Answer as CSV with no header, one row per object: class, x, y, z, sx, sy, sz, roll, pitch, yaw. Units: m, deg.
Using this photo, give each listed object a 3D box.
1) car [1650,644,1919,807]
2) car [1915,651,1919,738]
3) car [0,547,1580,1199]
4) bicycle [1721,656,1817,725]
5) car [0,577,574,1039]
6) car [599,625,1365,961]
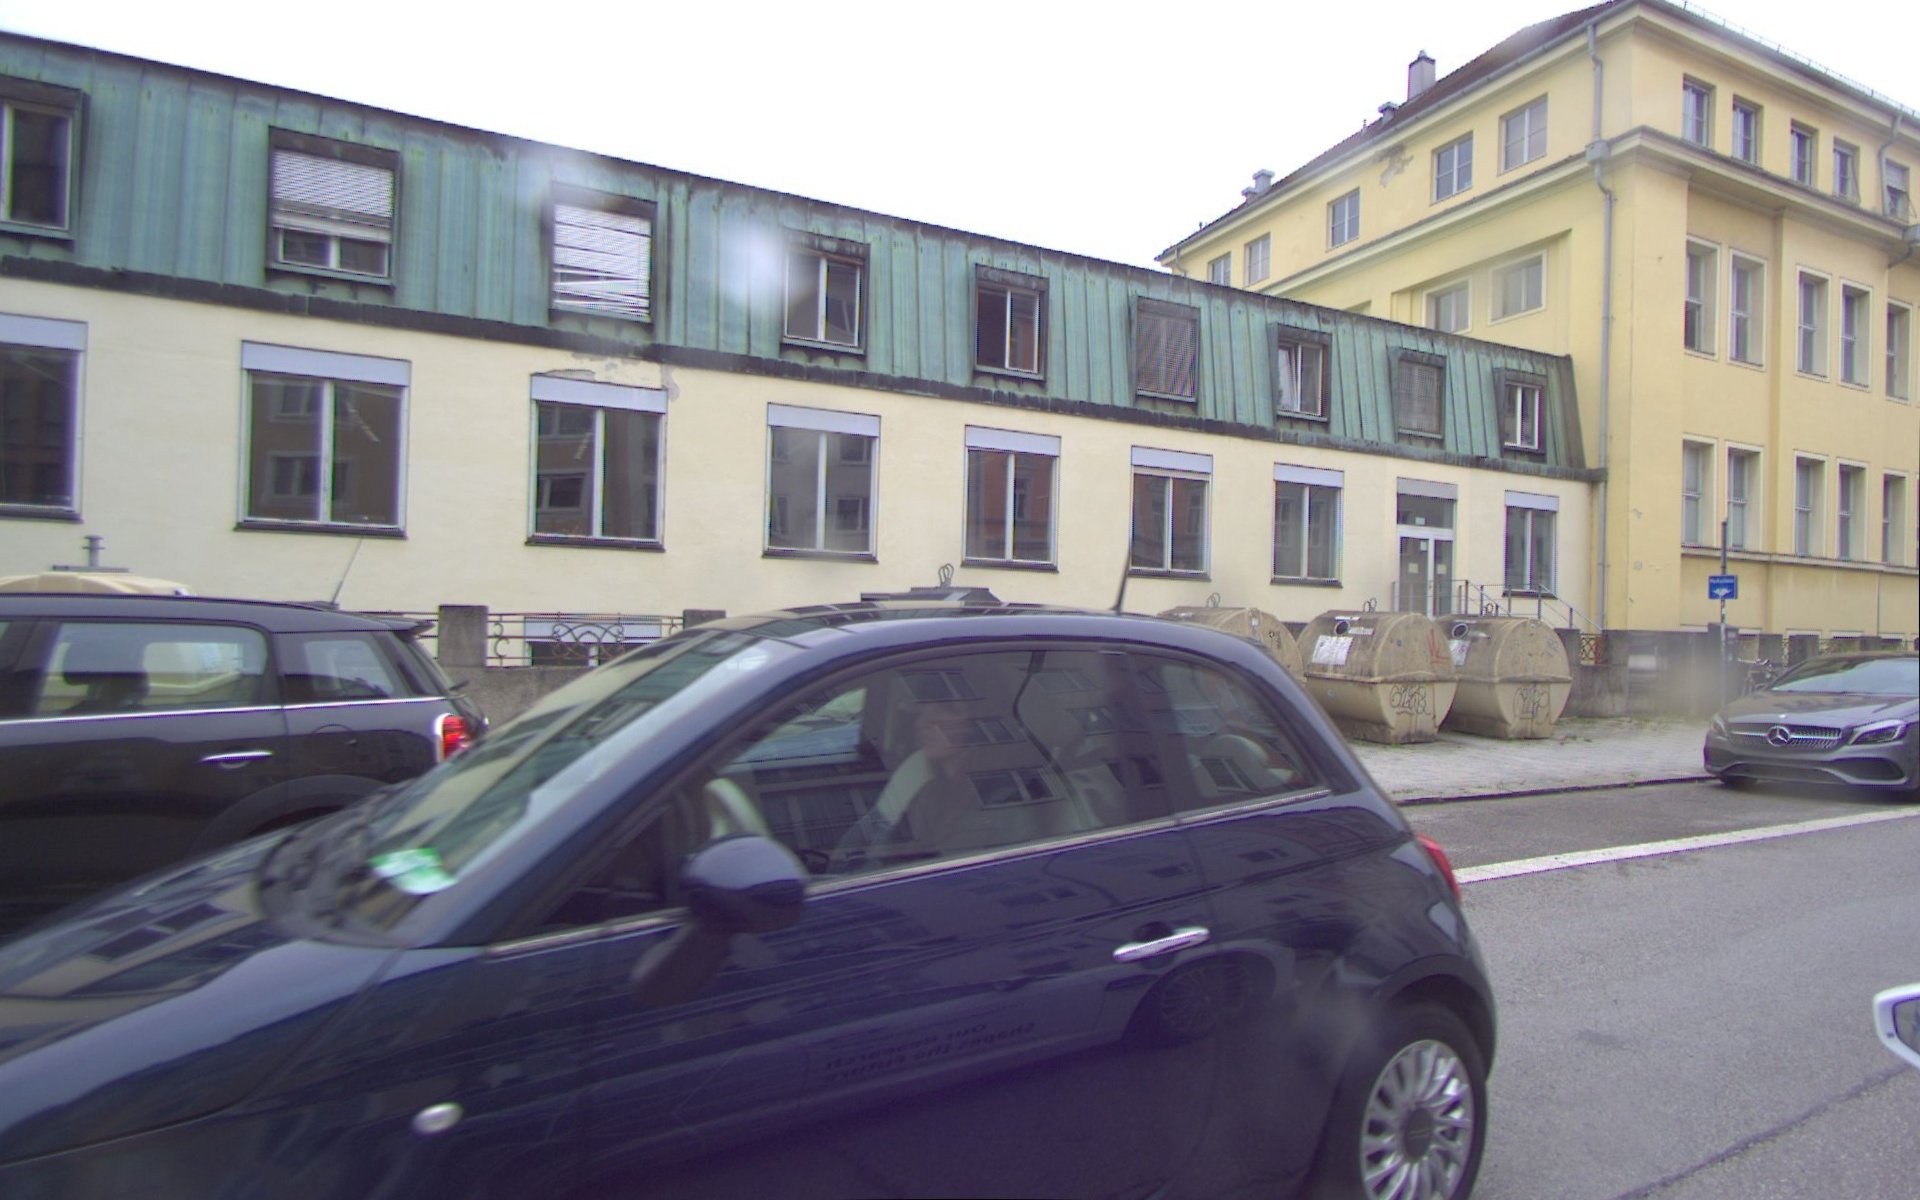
car,9.826,1.257,10.836,4.557,1.436,2.007,3,-4,-27
car,14.341,1.383,12.911,4.302,1.423,1.743,2,-4,-29
car,-0.462,0.738,2.312,3.664,1.494,1.653,3,-1,-30
bicycle,15.016,1.662,18.627,2.078,1.201,0.533,2,-1,-26
car,-4.030,0.785,4.246,4.298,1.607,1.906,1,-4,-28
car,0.167,0.975,6.358,4.470,1.501,1.909,1,-4,-25
